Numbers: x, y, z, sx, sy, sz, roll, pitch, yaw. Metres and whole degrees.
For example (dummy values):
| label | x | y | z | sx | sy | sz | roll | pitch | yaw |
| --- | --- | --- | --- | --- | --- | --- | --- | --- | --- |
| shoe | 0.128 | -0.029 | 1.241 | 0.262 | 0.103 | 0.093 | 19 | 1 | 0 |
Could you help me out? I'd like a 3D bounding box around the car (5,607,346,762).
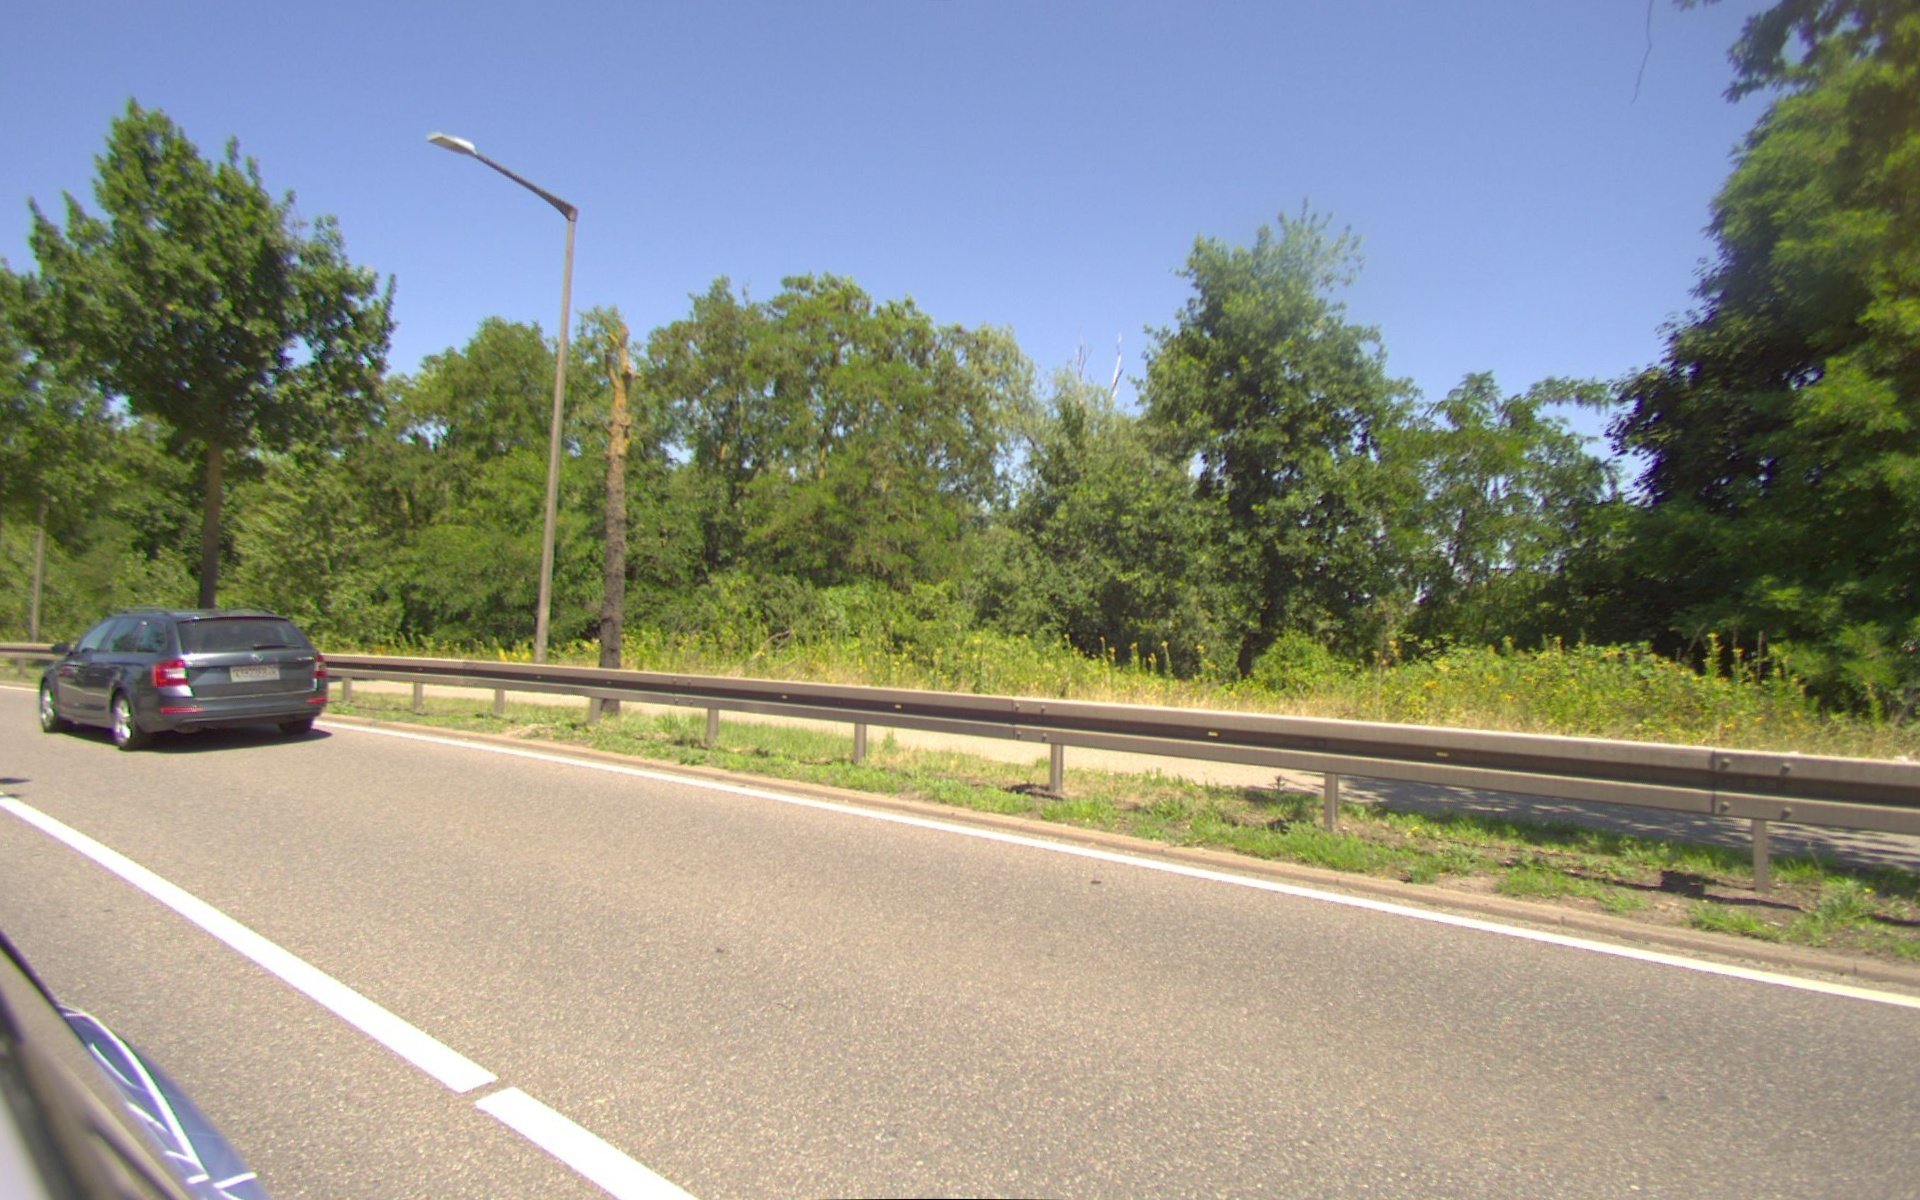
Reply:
| label | x | y | z | sx | sy | sz | roll | pitch | yaw |
| --- | --- | --- | --- | --- | --- | --- | --- | --- | --- |
| car | -9.015 | 0.829 | 11.514 | 4.504 | 1.458 | 1.730 | -1 | -1 | 34 |
